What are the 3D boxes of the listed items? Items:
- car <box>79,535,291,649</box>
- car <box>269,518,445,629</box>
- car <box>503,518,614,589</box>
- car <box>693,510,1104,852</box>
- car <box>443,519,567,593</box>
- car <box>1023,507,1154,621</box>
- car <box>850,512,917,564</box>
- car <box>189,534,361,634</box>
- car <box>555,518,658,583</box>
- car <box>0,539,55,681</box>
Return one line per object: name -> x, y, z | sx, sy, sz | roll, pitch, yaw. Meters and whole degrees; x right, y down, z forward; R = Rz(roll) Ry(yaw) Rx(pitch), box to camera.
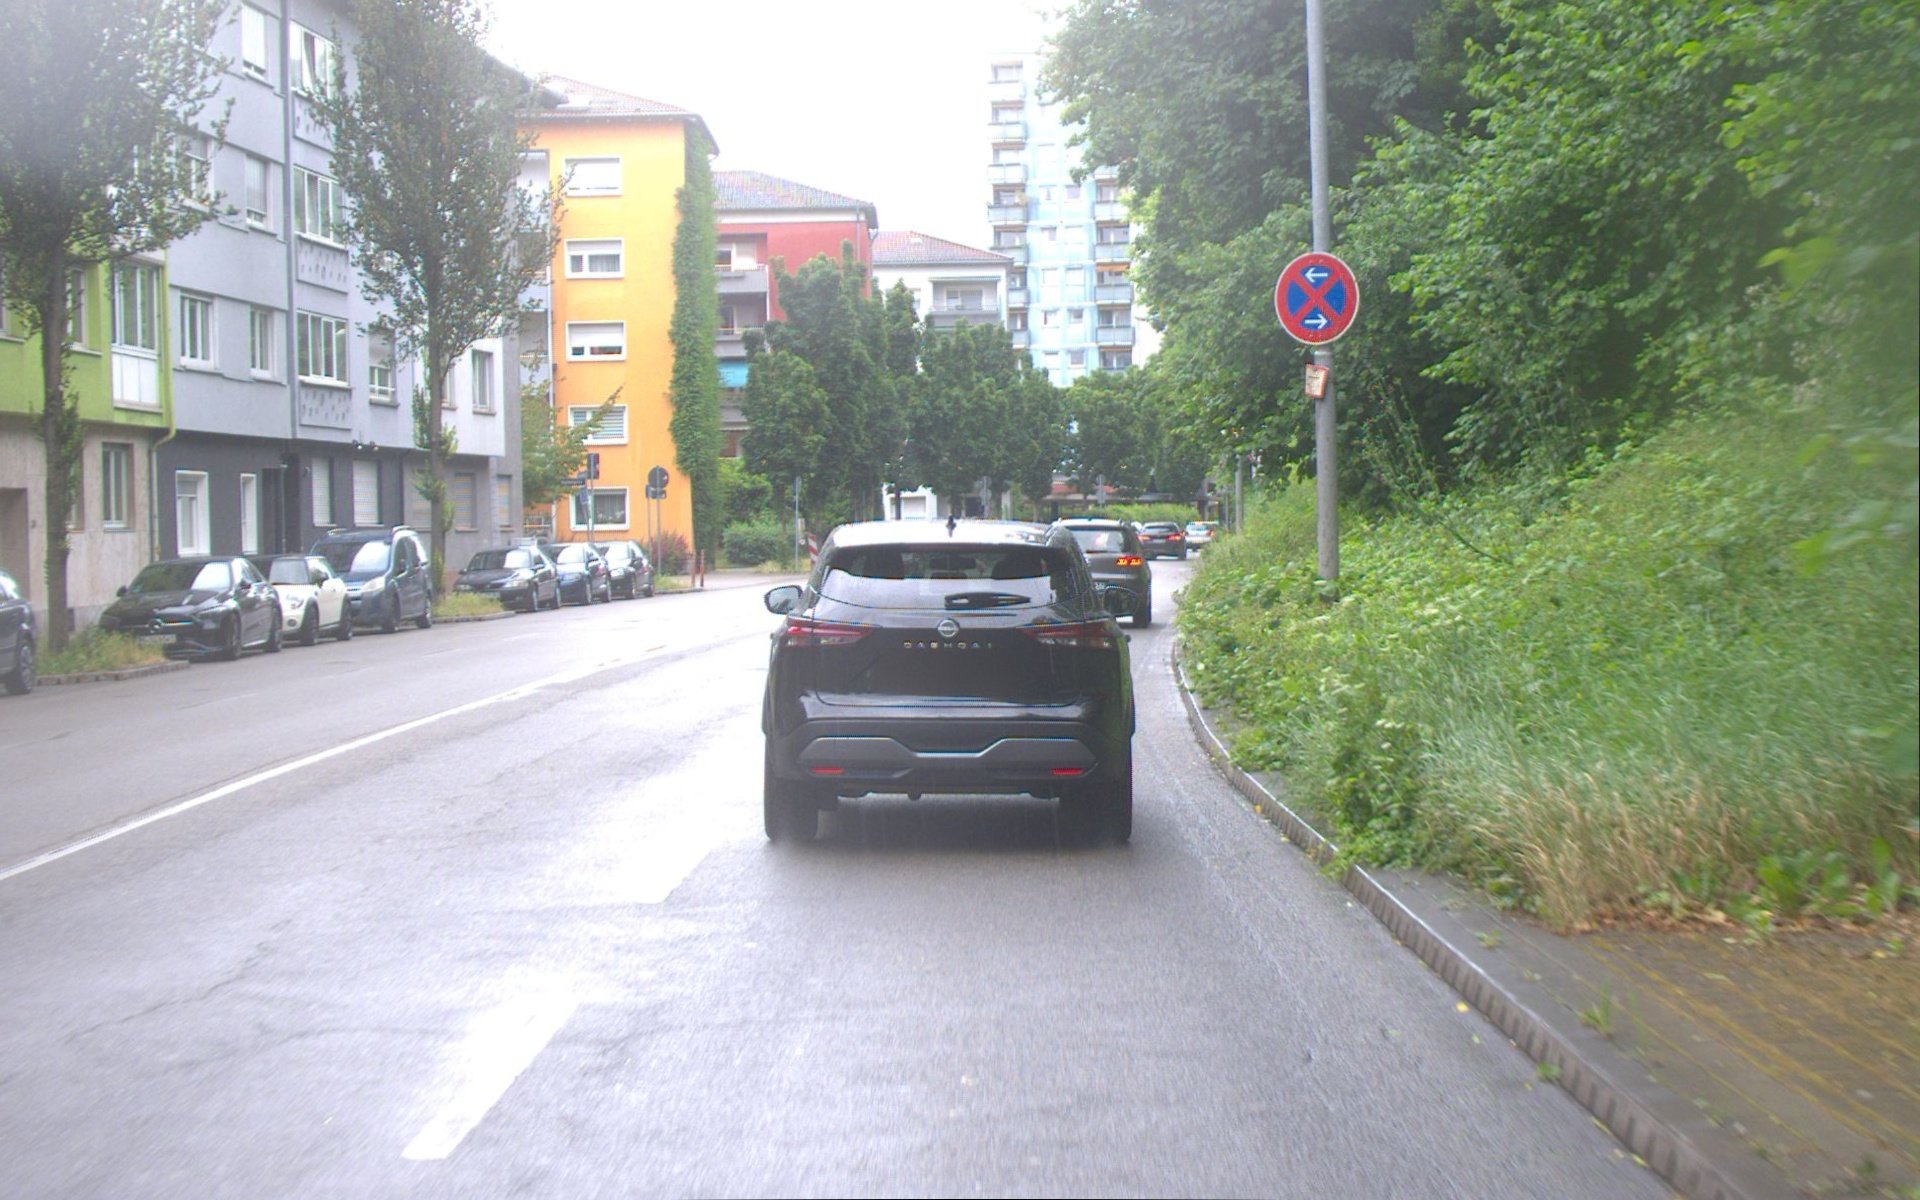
car -> -10.719, -0.151, 47.877 | 1.817, 1.367, 4.681 | -3, 2, 0
car -> -10.326, -0.488, 59.192 | 1.891, 1.760, 4.600 | -2, 1, 3
car -> -9.118, -1.086, 78.385 | 1.681, 1.444, 4.276 | -4, 1, 4
car -> -0.211, 0.325, 18.171 | 1.845, 1.577, 4.000 | 0, 2, 4
car -> -9.522, -0.951, 72.243 | 1.688, 1.353, 4.579 | -4, 2, 3
car -> 2.038, -0.591, 53.605 | 1.887, 1.705, 4.000 | 0, 1, 4
car -> -2.256, -1.859, 101.901 | 1.706, 1.473, 3.680 | -2, 1, 2
car -> -10.647, -0.274, 53.673 | 1.680, 1.371, 4.000 | -3, 2, 2
car -> -8.616, -1.227, 84.060 | 1.712, 1.420, 4.322 | -3, 2, 4
car -> -11.093, 0.165, 36.310 | 1.718, 1.483, 4.515 | -3, 2, 1
